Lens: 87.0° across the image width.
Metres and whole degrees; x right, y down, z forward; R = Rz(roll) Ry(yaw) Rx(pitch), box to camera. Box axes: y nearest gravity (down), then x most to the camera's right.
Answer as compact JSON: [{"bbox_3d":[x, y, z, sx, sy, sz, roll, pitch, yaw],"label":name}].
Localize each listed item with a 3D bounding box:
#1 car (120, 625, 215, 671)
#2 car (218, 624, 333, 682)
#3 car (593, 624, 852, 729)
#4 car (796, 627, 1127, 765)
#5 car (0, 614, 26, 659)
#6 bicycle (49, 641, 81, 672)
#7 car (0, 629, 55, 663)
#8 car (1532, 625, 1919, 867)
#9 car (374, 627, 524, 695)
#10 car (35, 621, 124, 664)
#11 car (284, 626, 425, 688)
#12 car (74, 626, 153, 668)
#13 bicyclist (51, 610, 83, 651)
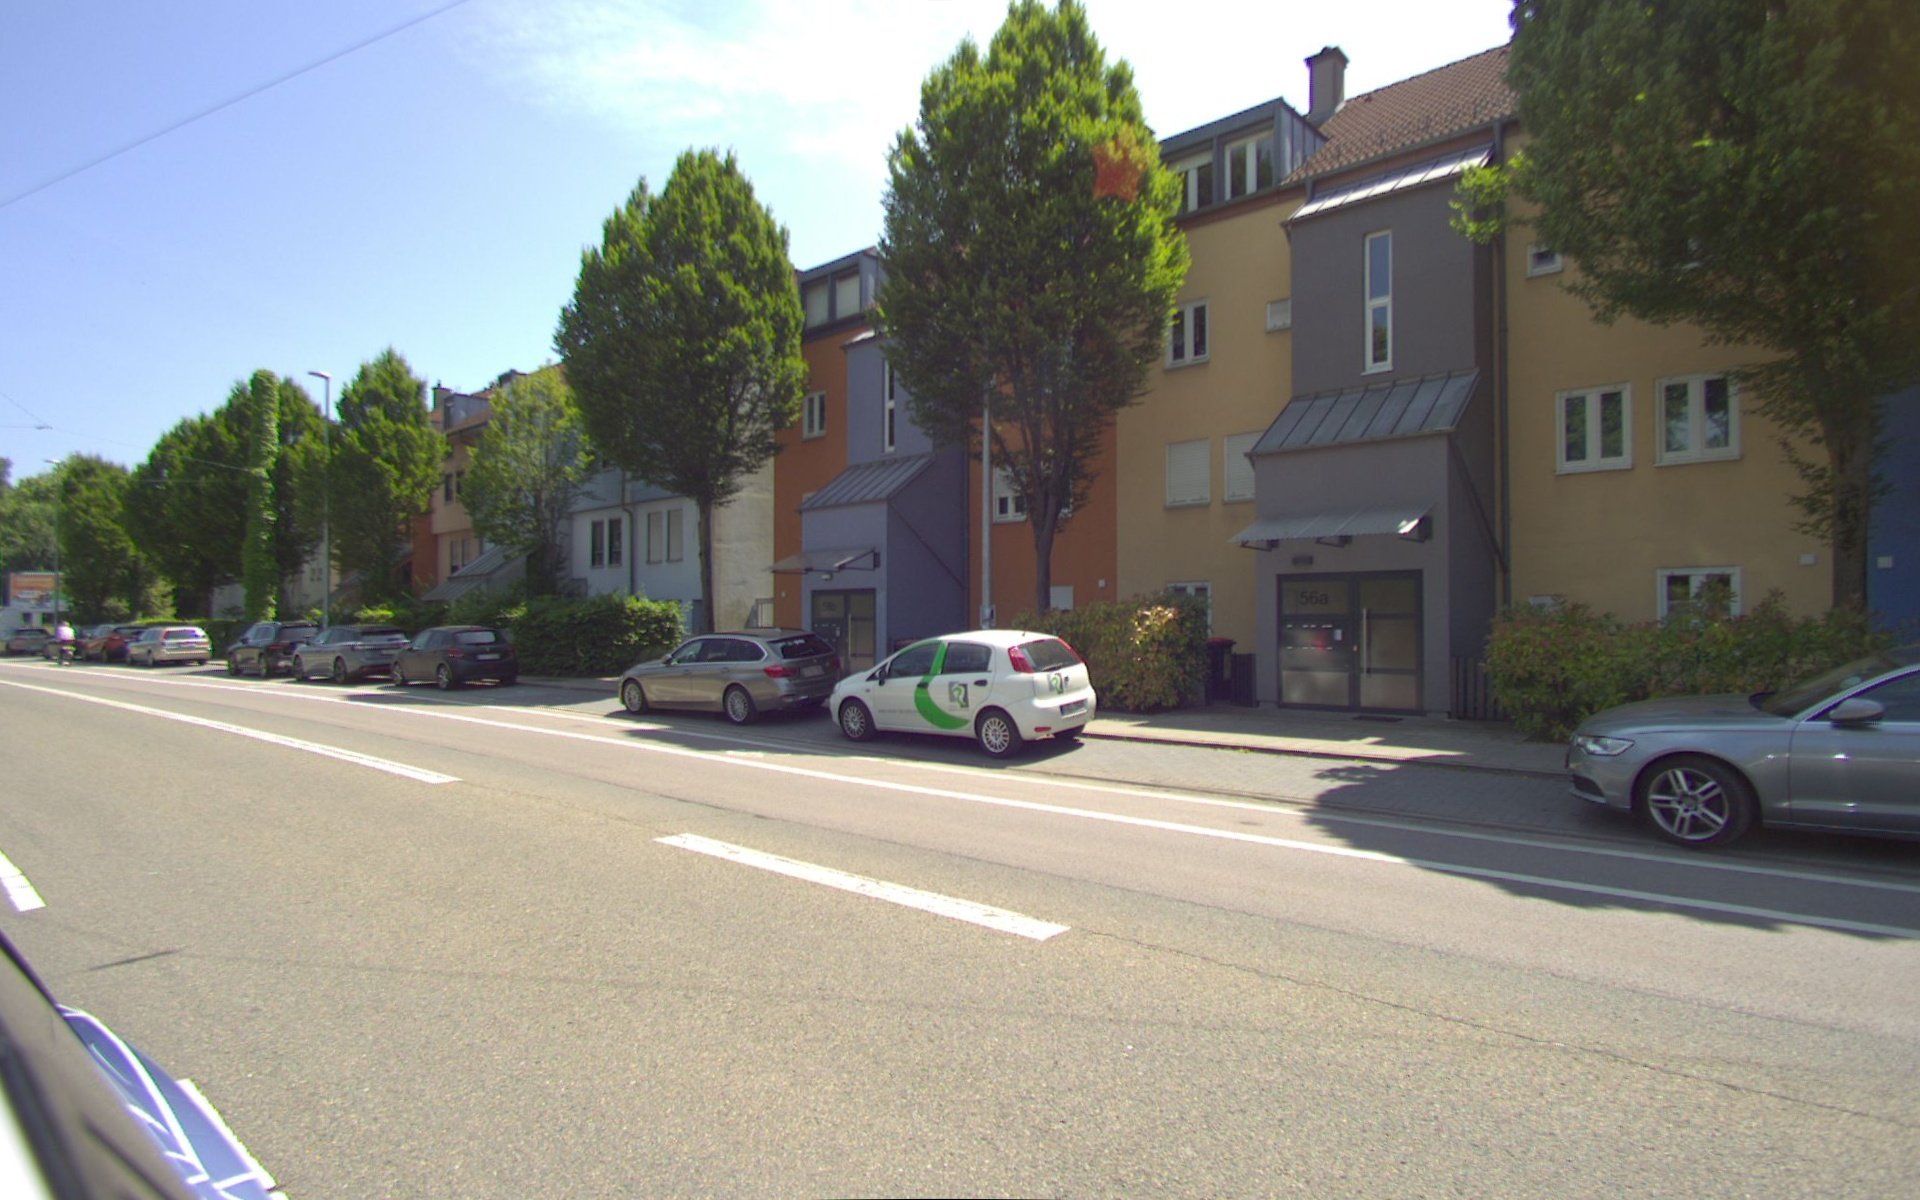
[{"bbox_3d":[-30.190,1.810,38.498,4.490,1.595,1.822,-2,0,38],"label":"car"},{"bbox_3d":[-21.311,1.614,31.479,4.142,1.601,1.750,-2,0,38],"label":"car"},{"bbox_3d":[-4.190,1.239,17.452,4.744,1.440,1.688,-2,2,38],"label":"car"},{"bbox_3d":[-0.104,1.177,13.816,4.418,1.453,1.728,-2,3,41],"label":"car"},{"bbox_3d":[-51.677,1.977,53.378,5.213,2.325,2.260,-2,0,33],"label":"car"},{"bbox_3d":[-33.368,2.103,37.739,1.638,1.104,0.633,-1,-4,42],"label":"bicycle"},{"bbox_3d":[-46.550,2.266,50.049,4.135,1.549,1.848,-2,0,36],"label":"car"},{"bbox_3d":[7.100,0.963,7.074,5.129,1.461,1.769,-3,1,40],"label":"car"},{"bbox_3d":[-12.524,1.423,24.679,4.254,1.443,1.732,-2,0,40],"label":"car"},{"bbox_3d":[-39.191,1.870,45.033,4.548,1.808,1.976,-1,-2,36],"label":"car"},{"bbox_3d":[-16.739,1.529,27.878,4.752,1.507,1.807,-2,0,39],"label":"car"},{"bbox_3d":[-35.038,1.945,41.878,3.673,1.606,1.586,-2,0,35],"label":"car"},{"bbox_3d":[-33.339,1.132,37.780,0.736,1.516,0.728,-1,-3,42],"label":"bicyclist"}]
